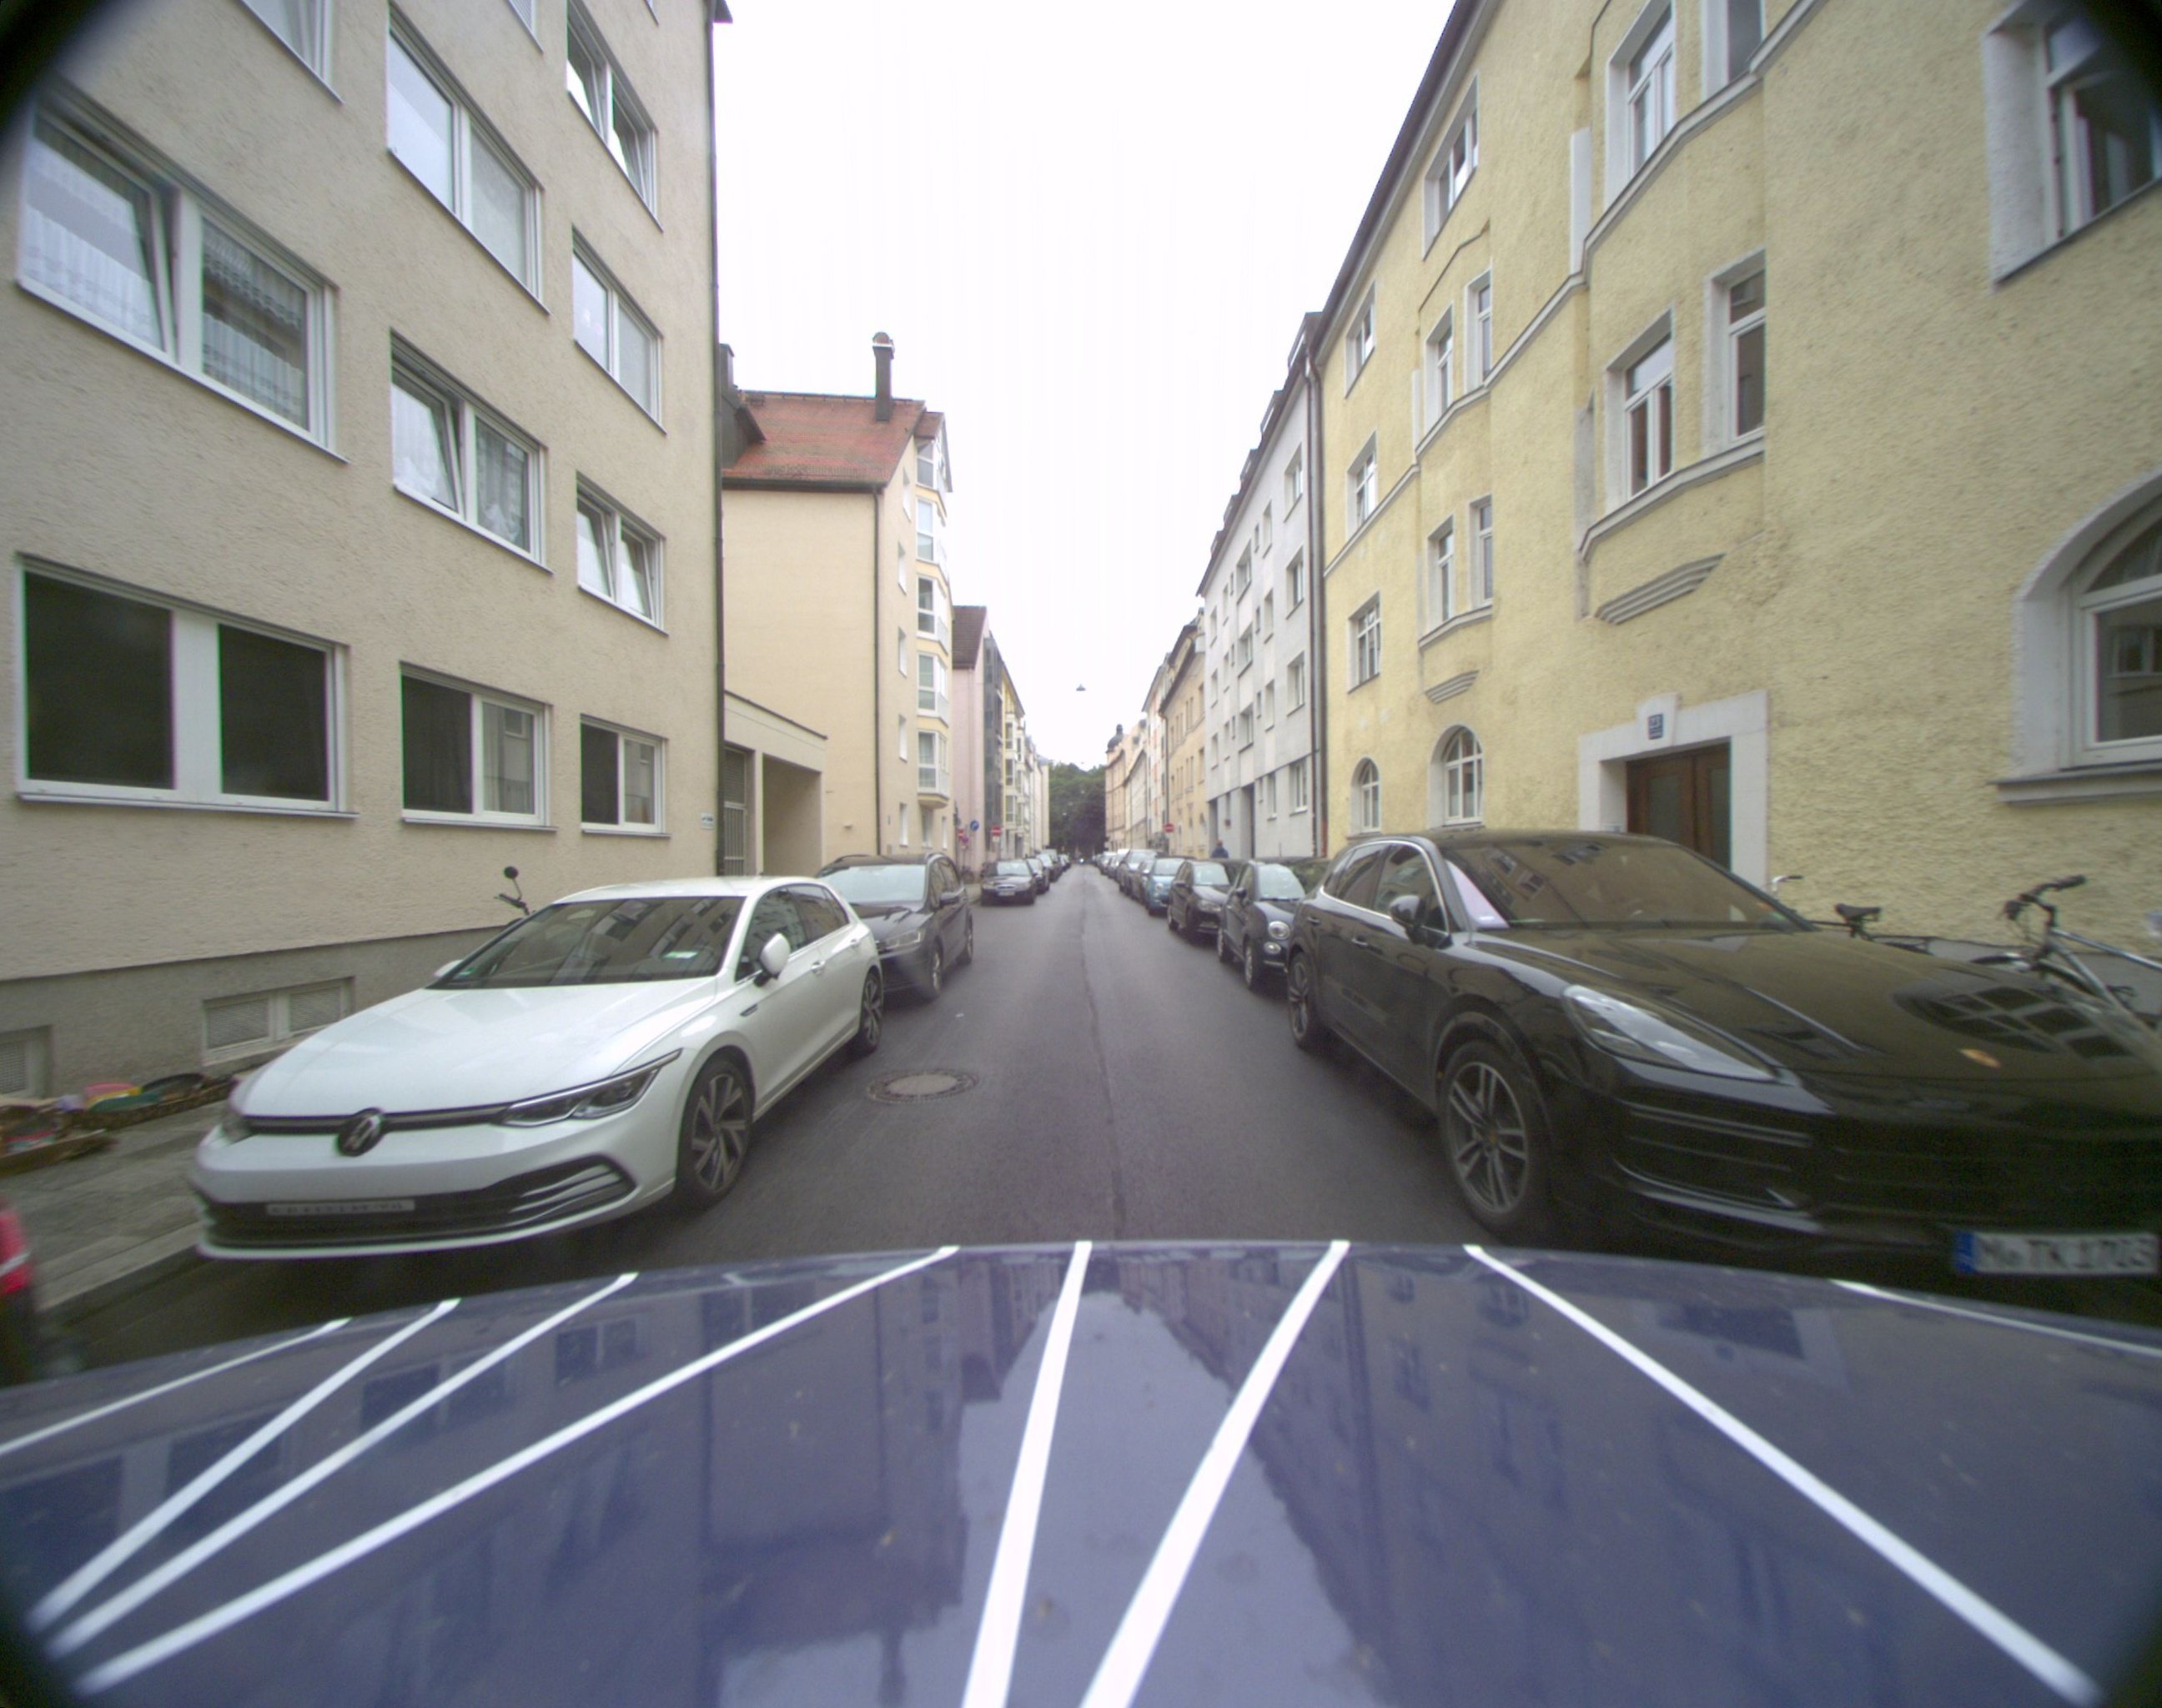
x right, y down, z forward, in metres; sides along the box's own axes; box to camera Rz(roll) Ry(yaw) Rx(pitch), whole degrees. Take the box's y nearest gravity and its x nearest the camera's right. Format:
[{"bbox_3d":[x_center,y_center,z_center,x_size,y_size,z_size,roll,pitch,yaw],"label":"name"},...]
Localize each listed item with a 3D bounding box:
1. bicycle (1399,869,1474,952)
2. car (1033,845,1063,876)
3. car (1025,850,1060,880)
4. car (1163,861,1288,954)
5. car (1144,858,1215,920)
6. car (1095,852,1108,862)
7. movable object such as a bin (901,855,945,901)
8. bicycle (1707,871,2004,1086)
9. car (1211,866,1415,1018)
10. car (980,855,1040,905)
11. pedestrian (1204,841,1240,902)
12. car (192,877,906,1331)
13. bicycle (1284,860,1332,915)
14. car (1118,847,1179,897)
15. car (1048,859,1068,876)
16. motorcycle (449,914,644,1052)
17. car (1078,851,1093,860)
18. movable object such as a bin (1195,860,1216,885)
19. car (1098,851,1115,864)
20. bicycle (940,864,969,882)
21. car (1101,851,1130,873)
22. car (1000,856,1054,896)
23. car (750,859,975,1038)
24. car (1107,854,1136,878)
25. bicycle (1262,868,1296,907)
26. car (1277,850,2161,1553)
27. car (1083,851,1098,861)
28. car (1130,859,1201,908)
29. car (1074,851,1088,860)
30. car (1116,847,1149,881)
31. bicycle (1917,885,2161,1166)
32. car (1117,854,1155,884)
[{"bbox_3d":[5.679,0.865,12.223,0.440,1.183,1.632,-1,1,0],"label":"bicycle"},{"bbox_3d":[-2.350,0.428,55.186,1.878,2.002,5.105,-2,1,0],"label":"car"},{"bbox_3d":[-2.207,0.616,44.708,1.837,1.612,4.410,-2,1,-1],"label":"car"},{"bbox_3d":[2.552,0.877,14.208,1.567,1.452,3.763,0,0,-1],"label":"car"},{"bbox_3d":[2.534,0.861,20.139,1.566,1.452,3.404,0,0,2],"label":"car"},{"bbox_3d":[3.162,0.439,117.025,1.951,1.470,3.979,1,0,0],"label":"car"},{"bbox_3d":[-5.051,0.747,24.410,1.035,1.415,1.586,1,1,0],"label":"movable object such as a bin"},{"bbox_3d":[5.503,0.803,5.543,0.536,1.271,1.551,-3,1,-1],"label":"bicycle"},{"bbox_3d":[2.614,0.906,9.342,1.566,1.452,3.475,0,0,2],"label":"car"},{"bbox_3d":[-2.310,0.809,25.764,1.721,1.463,4.530,-2,1,-2],"label":"car"},{"bbox_3d":[4.164,0.497,22.524,0.841,1.754,1.067,-2,1,0],"label":"pedestrian"},{"bbox_3d":[-2.476,1.005,4.986,1.716,1.477,4.243,-2,1,-1],"label":"car"},{"bbox_3d":[5.481,0.780,18.411,0.638,1.226,1.736,-1,1,0],"label":"bicycle"},{"bbox_3d":[2.579,0.630,30.066,1.867,1.760,4.734,1,1,-1],"label":"car"},{"bbox_3d":[-2.301,1.285,73.679,1.749,1.433,4.227,-2,0,-4],"label":"car"},{"bbox_3d":[-4.980,1.143,7.252,0.483,0.962,1.911,3,0,0],"label":"motorcycle"},{"bbox_3d":[0.779,0.291,131.177,1.800,1.501,3.996,1,0,-11],"label":"car"},{"bbox_3d":[5.672,0.839,34.595,0.809,1.045,0.622,-5,1,0],"label":"movable object such as a bin"},{"bbox_3d":[3.041,0.393,92.810,1.951,1.470,3.715,1,0,0],"label":"car"},{"bbox_3d":[-6.789,1.021,40.825,1.452,0.942,0.552,-1,0,-4],"label":"bicycle"},{"bbox_3d":[2.627,0.612,58.868,1.786,1.596,4.307,1,0,-3],"label":"car"},{"bbox_3d":[-2.148,0.857,31.248,1.837,1.398,4.410,-2,1,0],"label":"car"},{"bbox_3d":[-2.403,0.928,9.472,1.716,1.599,4.242,-2,1,-3],"label":"car"},{"bbox_3d":[2.595,0.735,49.200,1.676,1.467,4.112,1,0,1],"label":"car"},{"bbox_3d":[5.592,0.928,21.560,0.546,1.025,1.570,-1,1,0],"label":"bicycle"},{"bbox_3d":[2.466,0.805,3.985,1.883,1.650,4.415,0,0,2],"label":"car"},{"bbox_3d":[1.571,0.349,126.986,1.800,1.501,3.996,1,0,-11],"label":"car"},{"bbox_3d":[2.679,0.901,24.993,1.816,1.378,4.250,1,1,-1],"label":"car"},{"bbox_3d":[-0.082,0.273,135.273,1.800,1.501,3.996,1,0,-11],"label":"car"},{"bbox_3d":[2.942,0.533,44.106,1.728,1.779,4.248,1,1,2],"label":"car"},{"bbox_3d":[5.437,0.850,3.901,0.536,1.271,1.551,-3,1,-1],"label":"bicycle"},{"bbox_3d":[2.736,0.734,38.435,1.656,1.403,3.735,1,0,0],"label":"car"}]
